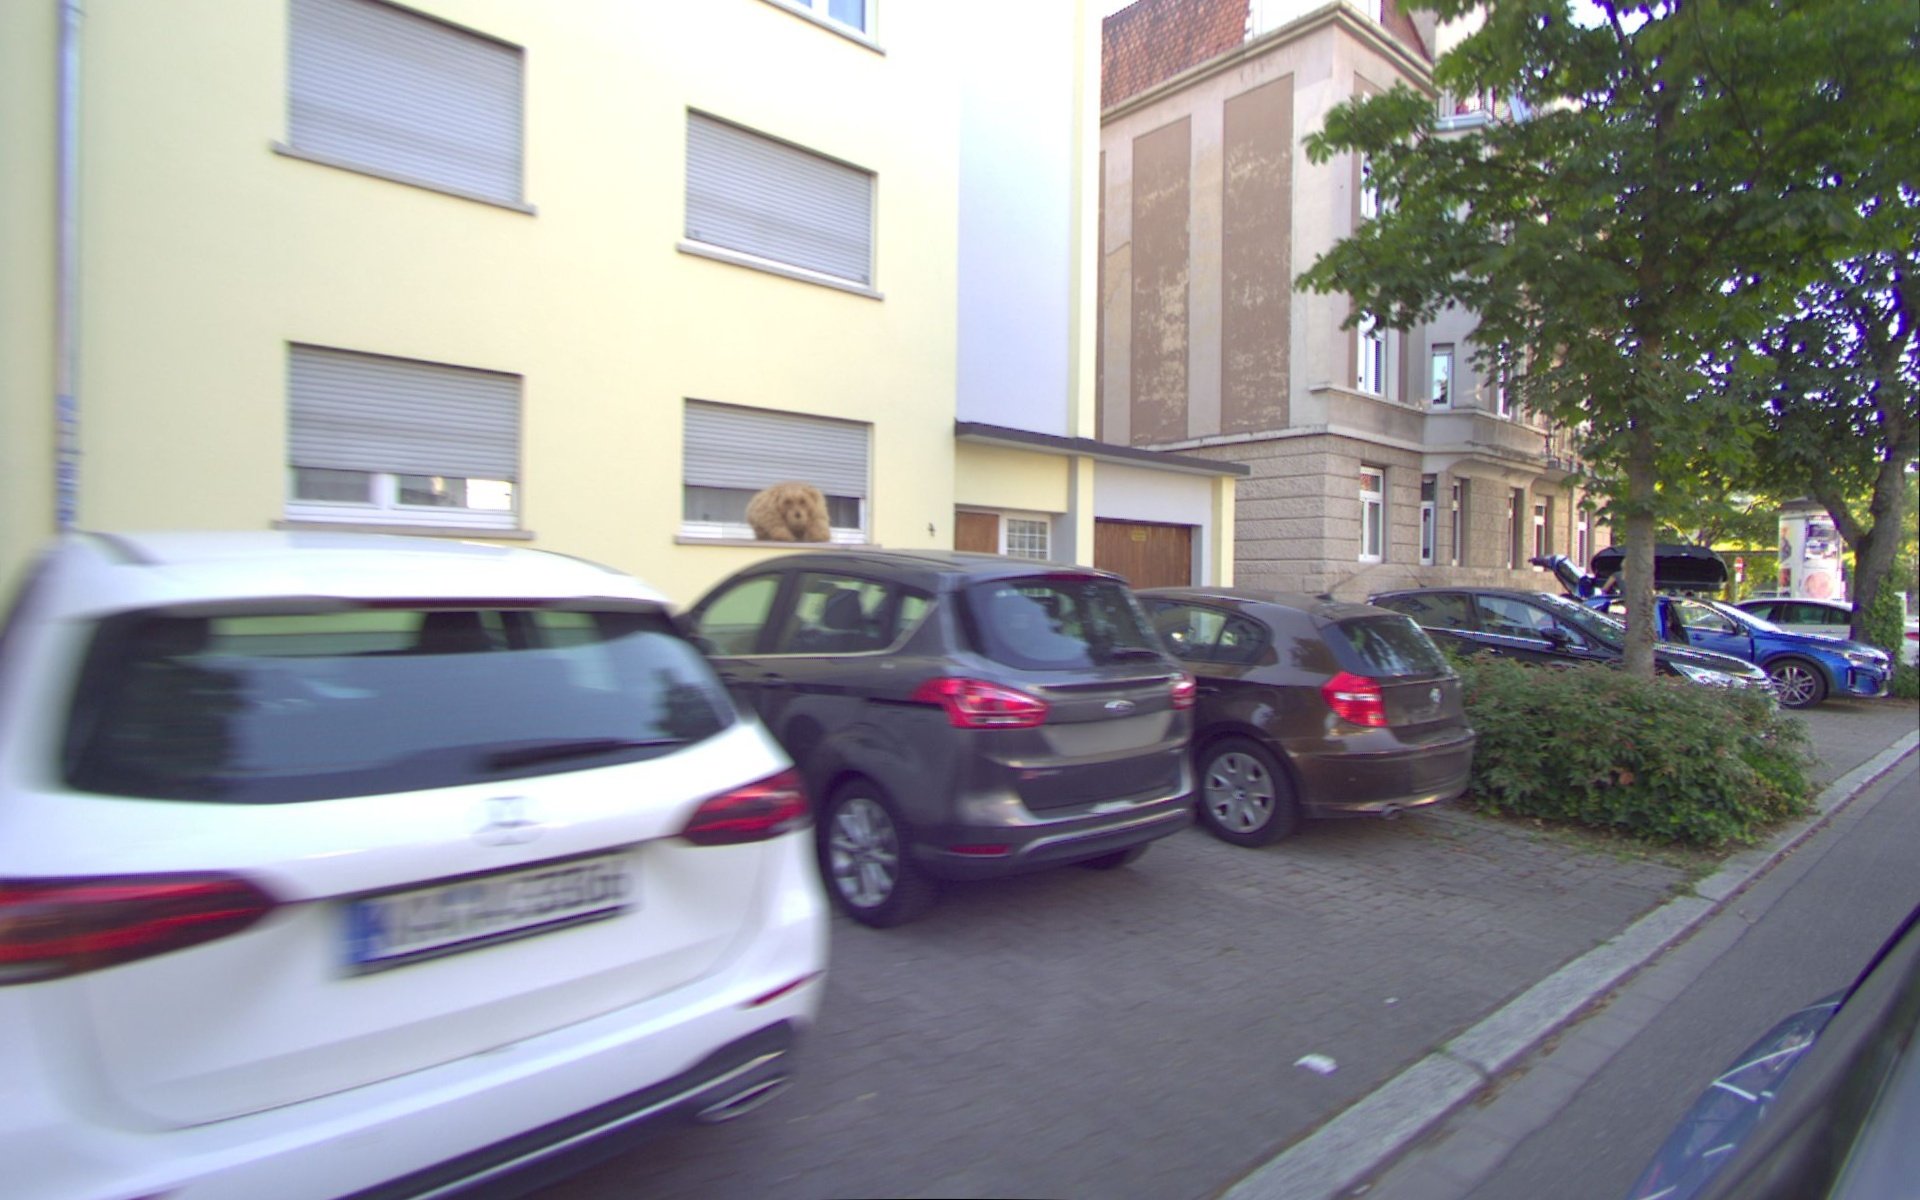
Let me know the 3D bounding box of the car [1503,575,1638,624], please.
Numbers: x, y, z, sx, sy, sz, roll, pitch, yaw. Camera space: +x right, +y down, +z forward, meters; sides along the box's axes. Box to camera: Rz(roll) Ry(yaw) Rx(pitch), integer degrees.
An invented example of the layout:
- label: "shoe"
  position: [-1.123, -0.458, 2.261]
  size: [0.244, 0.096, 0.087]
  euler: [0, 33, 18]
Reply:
- label: "car"
  position: [23.318, -0.038, 38.730]
  size: [1.781, 1.763, 4.079]
  euler: [2, 0, -43]

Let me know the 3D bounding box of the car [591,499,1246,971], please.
- label: "car"
  position: [-0.478, 0.418, 5.490]
  size: [1.695, 1.674, 3.554]
  euler: [0, 2, -41]

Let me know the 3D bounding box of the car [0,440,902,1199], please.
- label: "car"
  position: [-1.994, 0.524, 3.090]
  size: [1.695, 1.577, 3.737]
  euler: [0, 2, -41]

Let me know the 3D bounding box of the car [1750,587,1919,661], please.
- label: "car"
  position: [20.746, 0.508, 23.070]
  size: [1.830, 1.524, 4.055]
  euler: [0, 2, -41]

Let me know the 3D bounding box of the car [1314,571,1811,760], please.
- label: "car"
  position: [6.217, 0.521, 10.839]
  size: [1.841, 1.577, 4.198]
  euler: [1, 1, -41]

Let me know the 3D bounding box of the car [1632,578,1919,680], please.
- label: "car"
  position: [15.143, 0.471, 18.480]
  size: [4.478, 1.544, 1.923]
  euler: [4, 2, 44]

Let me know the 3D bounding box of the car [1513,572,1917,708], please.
- label: "car"
  position: [11.008, 0.447, 15.056]
  size: [1.842, 1.661, 4.534]
  euler: [0, 2, -41]

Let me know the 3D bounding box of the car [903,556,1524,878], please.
- label: "car"
  position: [1.460, 0.515, 7.028]
  size: [1.694, 1.577, 3.934]
  euler: [1, 1, -39]
